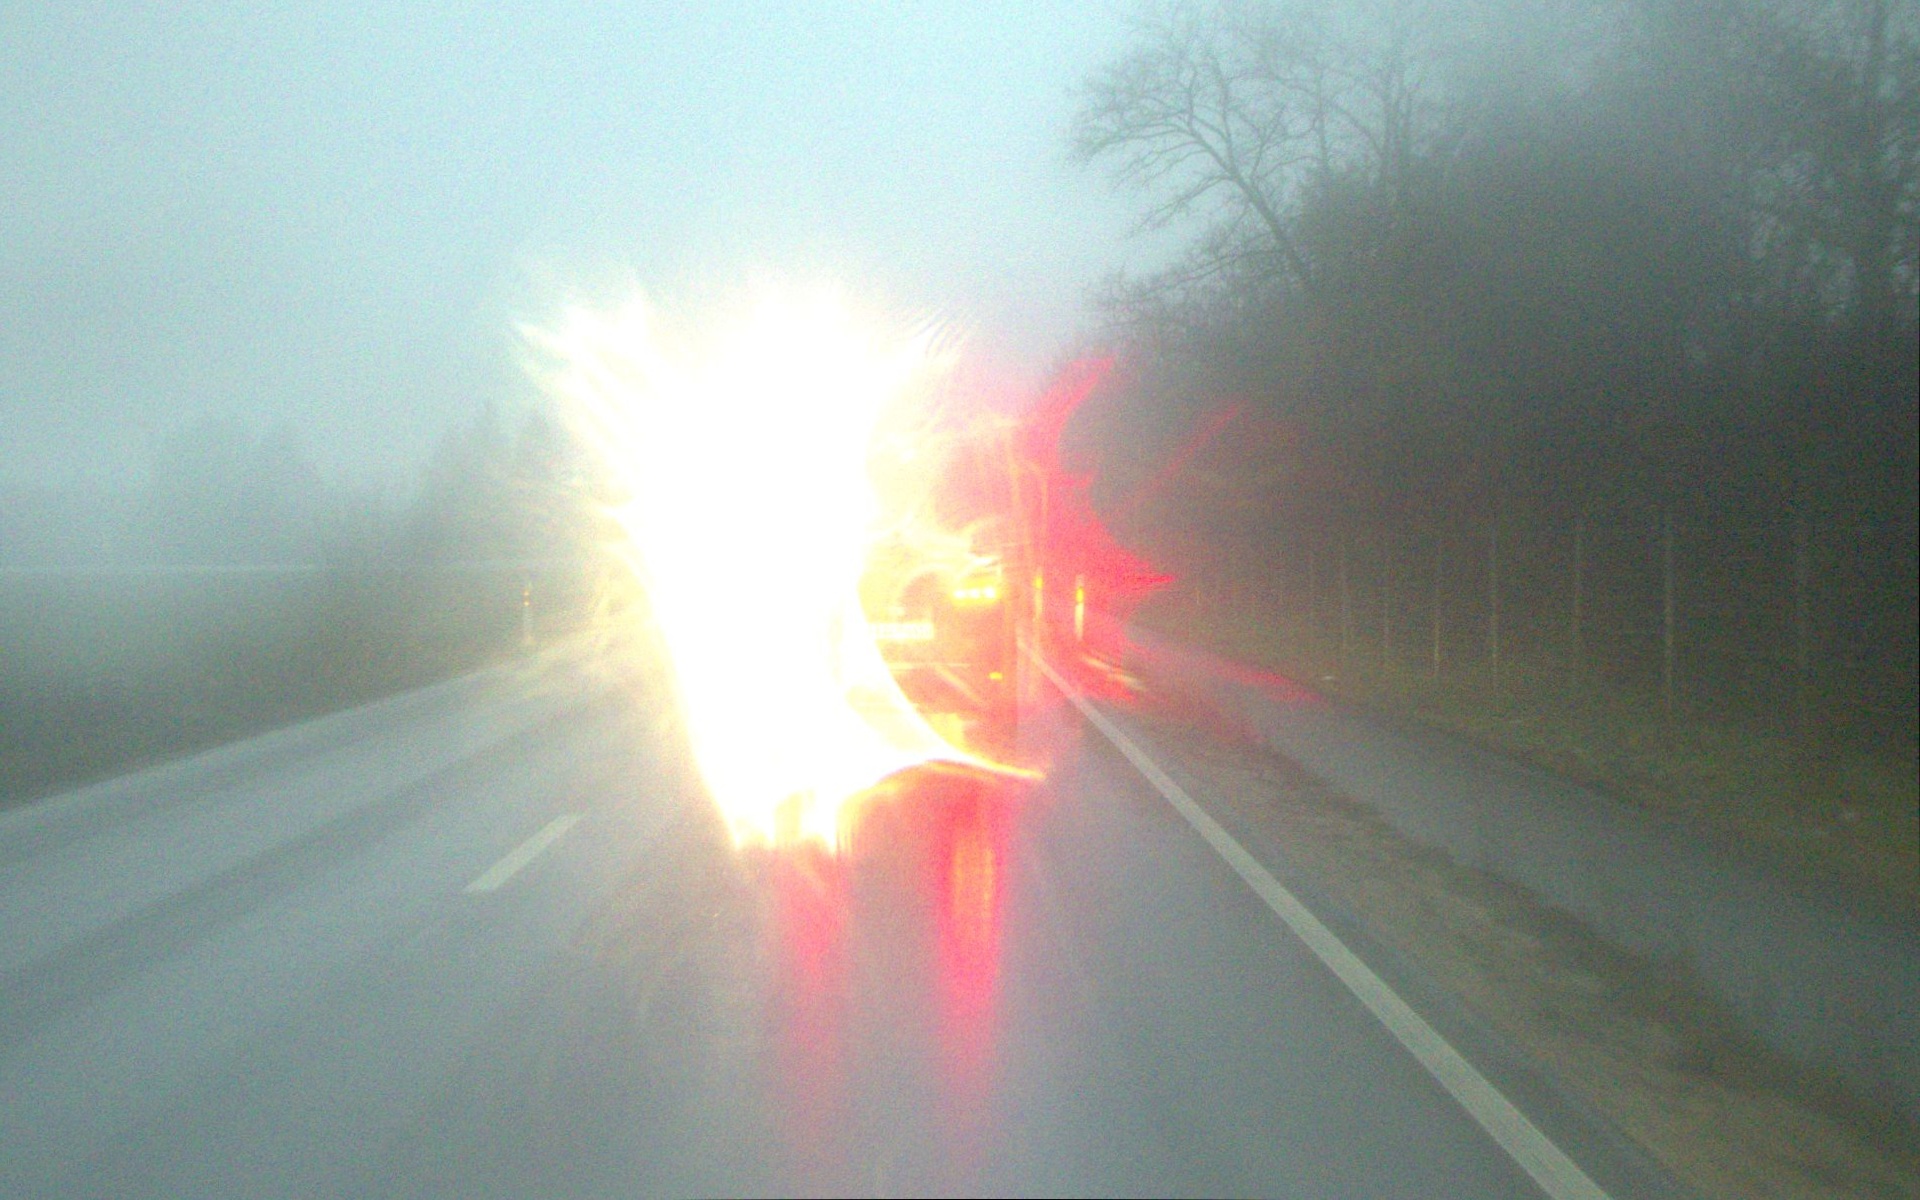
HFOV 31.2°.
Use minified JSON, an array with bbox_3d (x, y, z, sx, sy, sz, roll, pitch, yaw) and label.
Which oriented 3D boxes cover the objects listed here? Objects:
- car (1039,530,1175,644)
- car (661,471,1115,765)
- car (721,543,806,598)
[{"bbox_3d":[2.324,-0.217,55.310,1.928,1.744,4.000,1,1,-1],"label":"car"},{"bbox_3d":[-0.541,0.061,27.585,3.164,2.028,6.852,-1,1,-1],"label":"car"},{"bbox_3d":[-5.070,-0.774,89.213,1.993,1.367,4.398,1,1,-1],"label":"car"}]
